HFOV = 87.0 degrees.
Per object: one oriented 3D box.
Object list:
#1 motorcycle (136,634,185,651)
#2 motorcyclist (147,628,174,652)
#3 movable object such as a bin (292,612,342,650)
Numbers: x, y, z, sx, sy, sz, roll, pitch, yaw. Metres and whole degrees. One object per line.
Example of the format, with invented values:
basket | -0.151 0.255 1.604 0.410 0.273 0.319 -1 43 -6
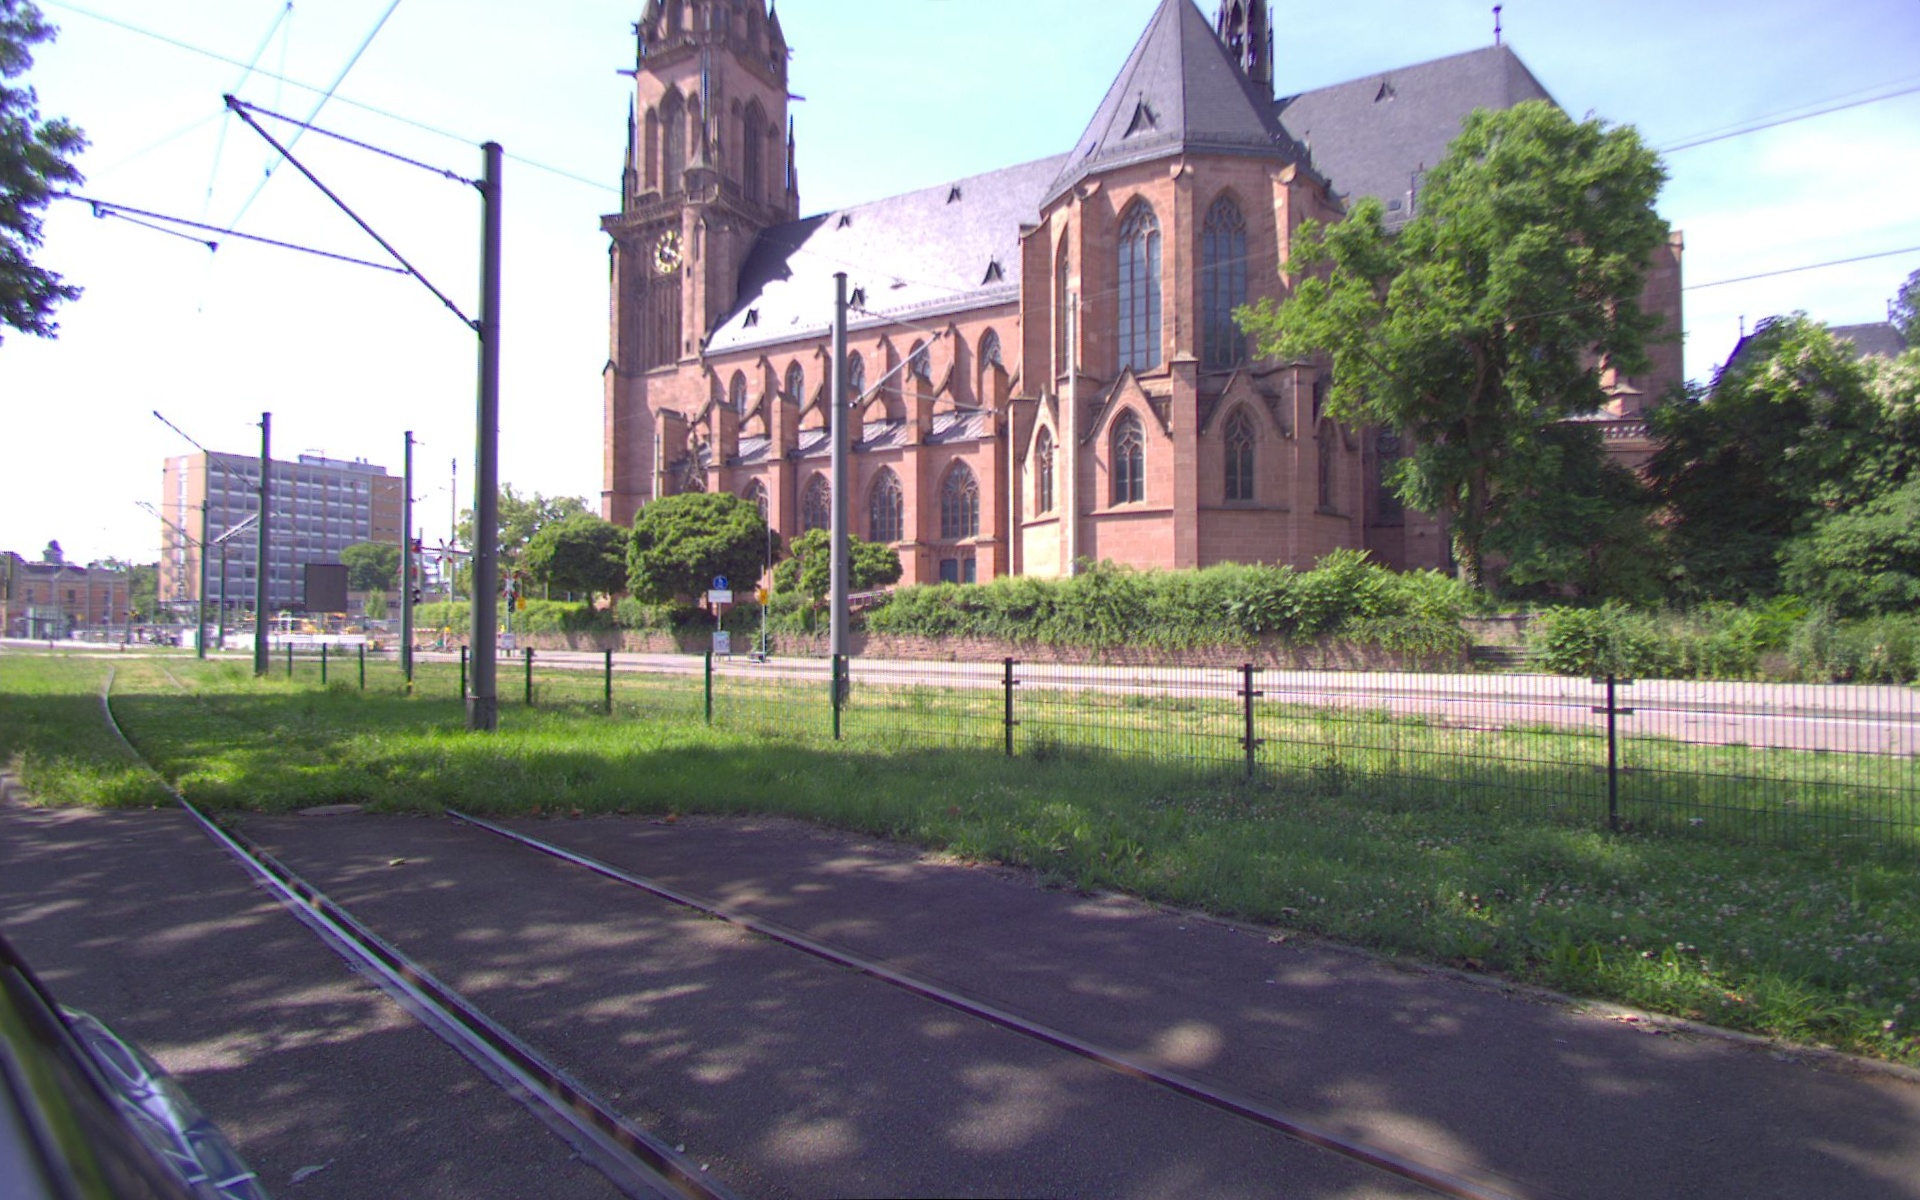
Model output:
motorcycle | -65.784 3.483 83.284 3.905 1.349 1.237 -1 -2 18
motorcyclist | -65.789 3.255 83.306 1.098 1.945 1.326 -1 -2 17
movable object such as a bin | -67.117 3.220 105.755 2.904 3.911 3.327 0 -2 8
